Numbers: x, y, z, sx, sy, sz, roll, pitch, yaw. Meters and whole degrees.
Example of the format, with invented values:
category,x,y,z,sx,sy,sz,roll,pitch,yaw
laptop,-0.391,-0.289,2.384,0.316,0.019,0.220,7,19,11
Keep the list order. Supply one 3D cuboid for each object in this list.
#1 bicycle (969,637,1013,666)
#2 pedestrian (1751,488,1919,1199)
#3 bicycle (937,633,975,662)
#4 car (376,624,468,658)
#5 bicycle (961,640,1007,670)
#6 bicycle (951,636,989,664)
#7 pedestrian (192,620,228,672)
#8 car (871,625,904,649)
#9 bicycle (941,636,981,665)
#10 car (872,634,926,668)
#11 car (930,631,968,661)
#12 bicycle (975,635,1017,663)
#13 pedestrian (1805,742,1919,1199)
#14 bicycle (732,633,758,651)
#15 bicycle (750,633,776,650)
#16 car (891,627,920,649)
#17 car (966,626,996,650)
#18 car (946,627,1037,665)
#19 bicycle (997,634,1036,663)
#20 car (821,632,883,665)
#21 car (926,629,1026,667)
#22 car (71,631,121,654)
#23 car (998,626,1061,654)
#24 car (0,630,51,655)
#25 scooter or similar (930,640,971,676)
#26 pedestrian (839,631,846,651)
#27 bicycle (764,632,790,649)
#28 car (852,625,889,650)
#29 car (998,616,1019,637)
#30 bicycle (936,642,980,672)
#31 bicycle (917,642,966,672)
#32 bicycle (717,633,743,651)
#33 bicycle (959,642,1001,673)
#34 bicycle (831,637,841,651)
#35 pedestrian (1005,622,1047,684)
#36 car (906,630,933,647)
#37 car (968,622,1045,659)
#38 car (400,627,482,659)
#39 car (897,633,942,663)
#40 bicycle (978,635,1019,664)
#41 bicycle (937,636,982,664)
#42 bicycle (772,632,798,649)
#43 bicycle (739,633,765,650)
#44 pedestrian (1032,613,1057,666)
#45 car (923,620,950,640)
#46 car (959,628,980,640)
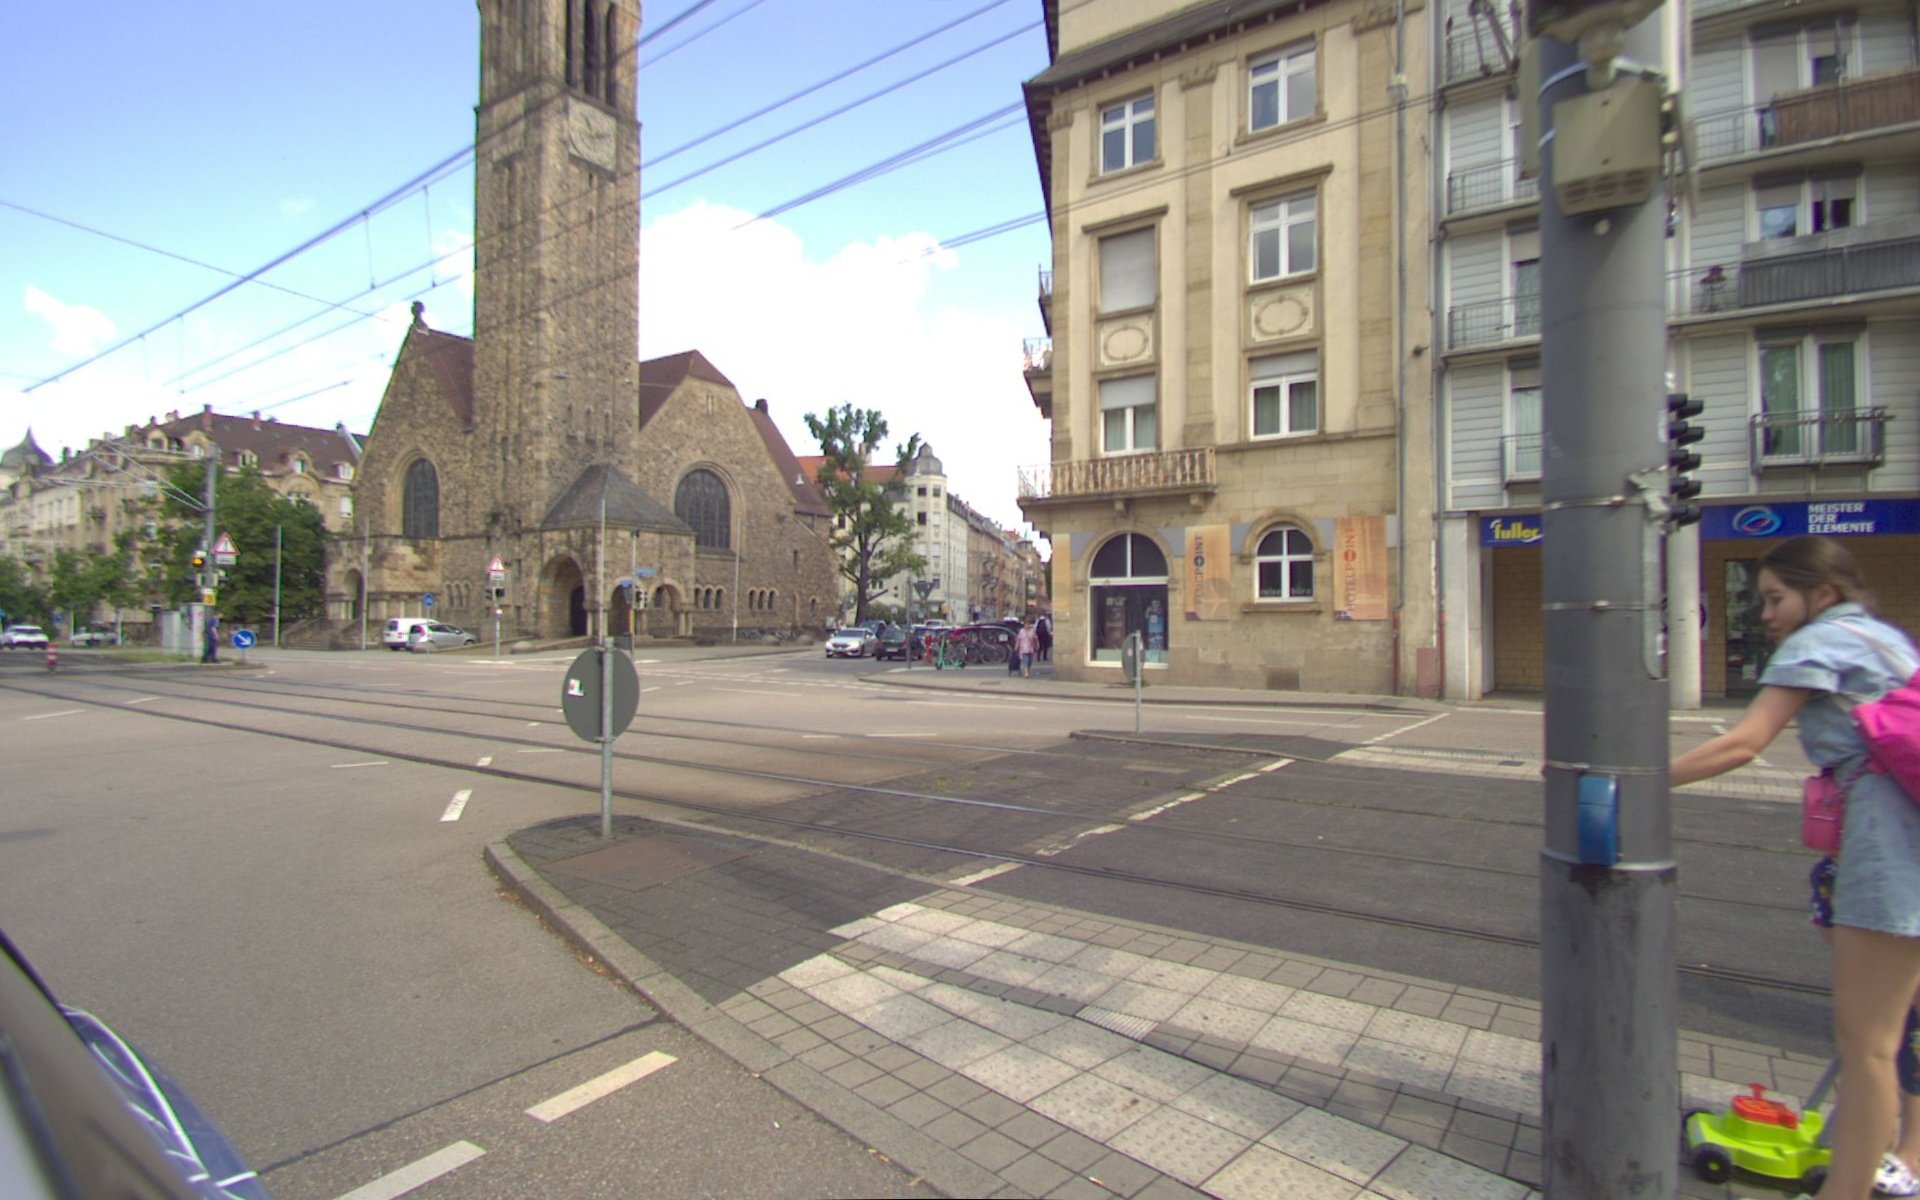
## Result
category,x,y,z,sx,sy,sz,roll,pitch,yaw
bicycle,1.159,1.961,38.417,1.569,1.060,0.478,-3,-2,18
pedestrian,2.146,0.625,2.039,0.615,1.678,0.678,1,-1,-33
bicycle,-0.149,1.832,39.068,1.357,1.060,0.417,-3,-2,9
car,-31.133,2.395,58.663,1.995,1.868,4.255,-3,-4,34
bicycle,0.903,2.037,37.520,1.600,1.060,0.478,-3,-2,18
bicycle,0.409,2.007,40.453,1.466,1.060,0.461,-2,-3,7
pedestrian,-25.647,1.549,34.602,0.742,1.744,0.763,-1,-2,34
car,-5.693,2.907,80.301,1.666,1.805,3.986,0,-1,10
bicycle,0.024,1.951,39.404,1.468,1.060,0.461,-3,-2,11
car,-2.760,2.317,46.820,1.700,1.444,3.806,0,-1,10
car,-0.674,2.864,63.367,1.756,1.594,4.010,3,0,8
bicycle,1.450,1.990,40.936,1.614,1.060,0.556,-2,-2,9
pedestrian,2.363,0.910,2.397,0.413,1.071,0.438,1,-1,-33
bicycle,-15.245,2.962,71.850,1.933,1.120,0.580,2,1,32
bicycle,-14.226,2.979,73.208,1.933,1.120,0.580,2,1,32
car,-4.631,3.214,86.562,1.666,1.805,3.986,0,-1,10
car,1.690,2.951,79.225,1.797,1.789,4.271,0,-2,9
car,1.476,2.144,47.252,3.887,1.468,1.736,-2,-3,-31
bicycle,2.218,1.899,39.677,1.467,1.060,0.461,-2,-2,8
car,-5.234,2.350,49.519,1.808,1.459,4.371,1,-1,11
car,0.710,2.093,44.210,3.931,1.468,1.818,-2,-2,-28
car,-60.599,2.989,70.983,3.829,1.506,1.768,-2,-1,35
car,4.714,2.730,68.871,3.887,1.597,1.736,-2,-3,-29
car,-59.727,2.698,64.436,4.120,1.517,1.799,-2,-1,34
scooter or similar,-0.312,1.927,33.832,1.247,1.155,0.476,-3,-2,28
pedestrian,-8.654,2.992,74.516,0.460,1.466,0.555,0,-2,5
bicycle,-13.470,2.996,74.552,1.933,1.120,0.580,2,1,32
car,-6.617,2.780,75.243,1.666,1.805,4.131,0,-1,10
car,6.093,3.339,126.818,2.059,2.463,5.928,1,-2,9
bicycle,-0.074,2.144,38.243,1.569,1.060,0.478,-3,-2,18
bicycle,-0.692,2.112,37.644,1.727,1.060,0.526,-3,-2,27
bicycle,-16.028,2.944,70.501,1.933,1.120,0.580,2,1,32
bicycle,0.719,2.052,36.392,1.432,1.060,0.477,-3,-2,20
bicycle,-9.153,3.229,74.537,0.474,1.060,1.441,0,-2,4
pedestrian,1.815,1.436,27.667,0.934,1.607,0.992,-4,-2,11
car,-3.650,3.447,91.772,1.666,1.458,3.785,0,-1,11
car,2.599,2.257,56.761,3.886,1.882,1.737,-1,-2,-24
car,-28.769,2.386,56.168,1.812,1.691,3.598,-3,-4,31
car,-2.148,2.541,54.285,1.733,1.552,3.921,0,-1,9
bicycle,1.489,1.911,38.994,1.468,1.060,0.461,-3,-2,11
bicycle,-0.014,2.042,41.345,1.783,1.060,0.559,-1,-3,-36
bicycle,-13.022,3.005,75.209,1.933,1.120,0.580,2,1,32
bicycle,-14.868,2.970,72.451,1.933,1.120,0.580,2,1,32
pedestrian,3.135,1.461,37.478,0.796,1.874,0.903,-1,1,10
car,-2.318,2.972,100.802,1.826,1.953,4.172,0,-1,11
car,1.192,4.036,119.951,1.791,1.378,4.172,0,-1,11
